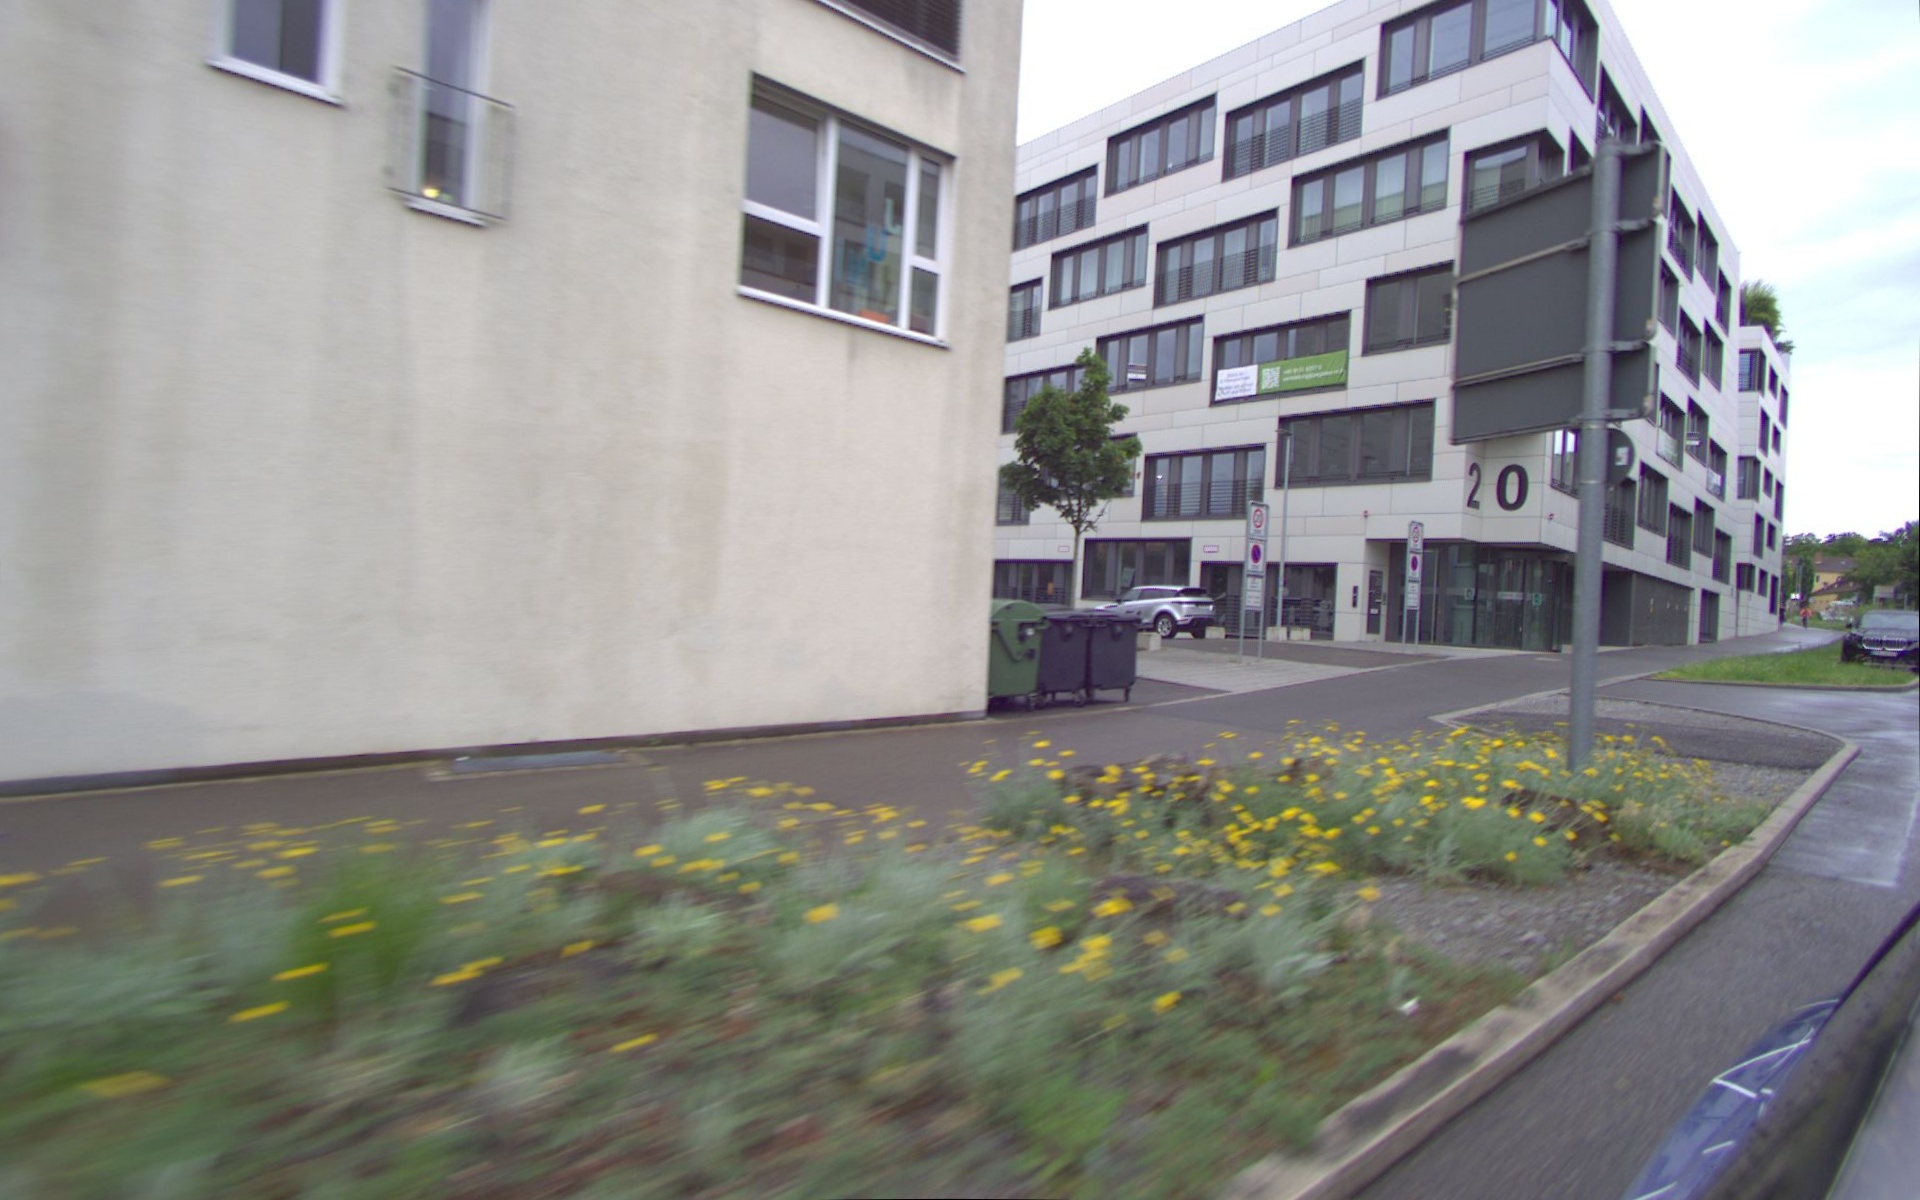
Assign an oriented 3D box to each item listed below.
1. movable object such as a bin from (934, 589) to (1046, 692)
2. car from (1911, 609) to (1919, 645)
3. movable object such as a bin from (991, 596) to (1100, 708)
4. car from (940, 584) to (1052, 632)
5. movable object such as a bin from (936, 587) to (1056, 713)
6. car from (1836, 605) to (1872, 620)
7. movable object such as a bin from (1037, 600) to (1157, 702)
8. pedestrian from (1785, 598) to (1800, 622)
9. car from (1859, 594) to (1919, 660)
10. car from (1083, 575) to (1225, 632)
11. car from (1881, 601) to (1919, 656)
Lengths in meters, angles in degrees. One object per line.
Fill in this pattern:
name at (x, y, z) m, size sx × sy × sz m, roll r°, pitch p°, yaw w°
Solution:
movable object such as a bin at (0.448, 0.576, 15.176) m, size 1.093 × 1.420 × 1.263 m, roll 1°, pitch 1°, yaw -41°
car at (43.568, 1.212, 44.844) m, size 4.420 × 1.503 × 1.809 m, roll 0°, pitch 2°, yaw -44°
movable object such as a bin at (1.168, 0.680, 13.868) m, size 1.039 × 1.420 × 1.023 m, roll 1°, pitch 1°, yaw -41°
car at (1.257, 0.250, 36.599) m, size 1.758 × 1.564 × 3.993 m, roll 0°, pitch 2°, yaw -42°
movable object such as a bin at (0.462, 0.611, 13.190) m, size 0.996 × 1.522 × 1.176 m, roll 1°, pitch 1°, yaw -40°
car at (90.529, 1.241, 102.533) m, size 2.031 × 1.482 × 4.449 m, roll 1°, pitch 1°, yaw 33°
movable object such as a bin at (1.983, 0.698, 14.683) m, size 1.171 × 1.336 × 1.237 m, roll 0°, pitch 2°, yaw -41°
pedestrian at (65.234, 0.762, 79.334) m, size 0.822 × 1.818 × 1.190 m, roll 3°, pitch 2°, yaw 41°
car at (26.364, 0.753, 28.022) m, size 4.633 × 1.700 × 1.809 m, roll 2°, pitch 0°, yaw -44°
car at (5.852, 0.134, 30.899) m, size 1.860 × 1.636 × 3.994 m, roll 1°, pitch -1°, yaw -39°
car at (30.757, 0.893, 32.255) m, size 4.301 × 1.625 × 1.750 m, roll 0°, pitch 1°, yaw -44°
